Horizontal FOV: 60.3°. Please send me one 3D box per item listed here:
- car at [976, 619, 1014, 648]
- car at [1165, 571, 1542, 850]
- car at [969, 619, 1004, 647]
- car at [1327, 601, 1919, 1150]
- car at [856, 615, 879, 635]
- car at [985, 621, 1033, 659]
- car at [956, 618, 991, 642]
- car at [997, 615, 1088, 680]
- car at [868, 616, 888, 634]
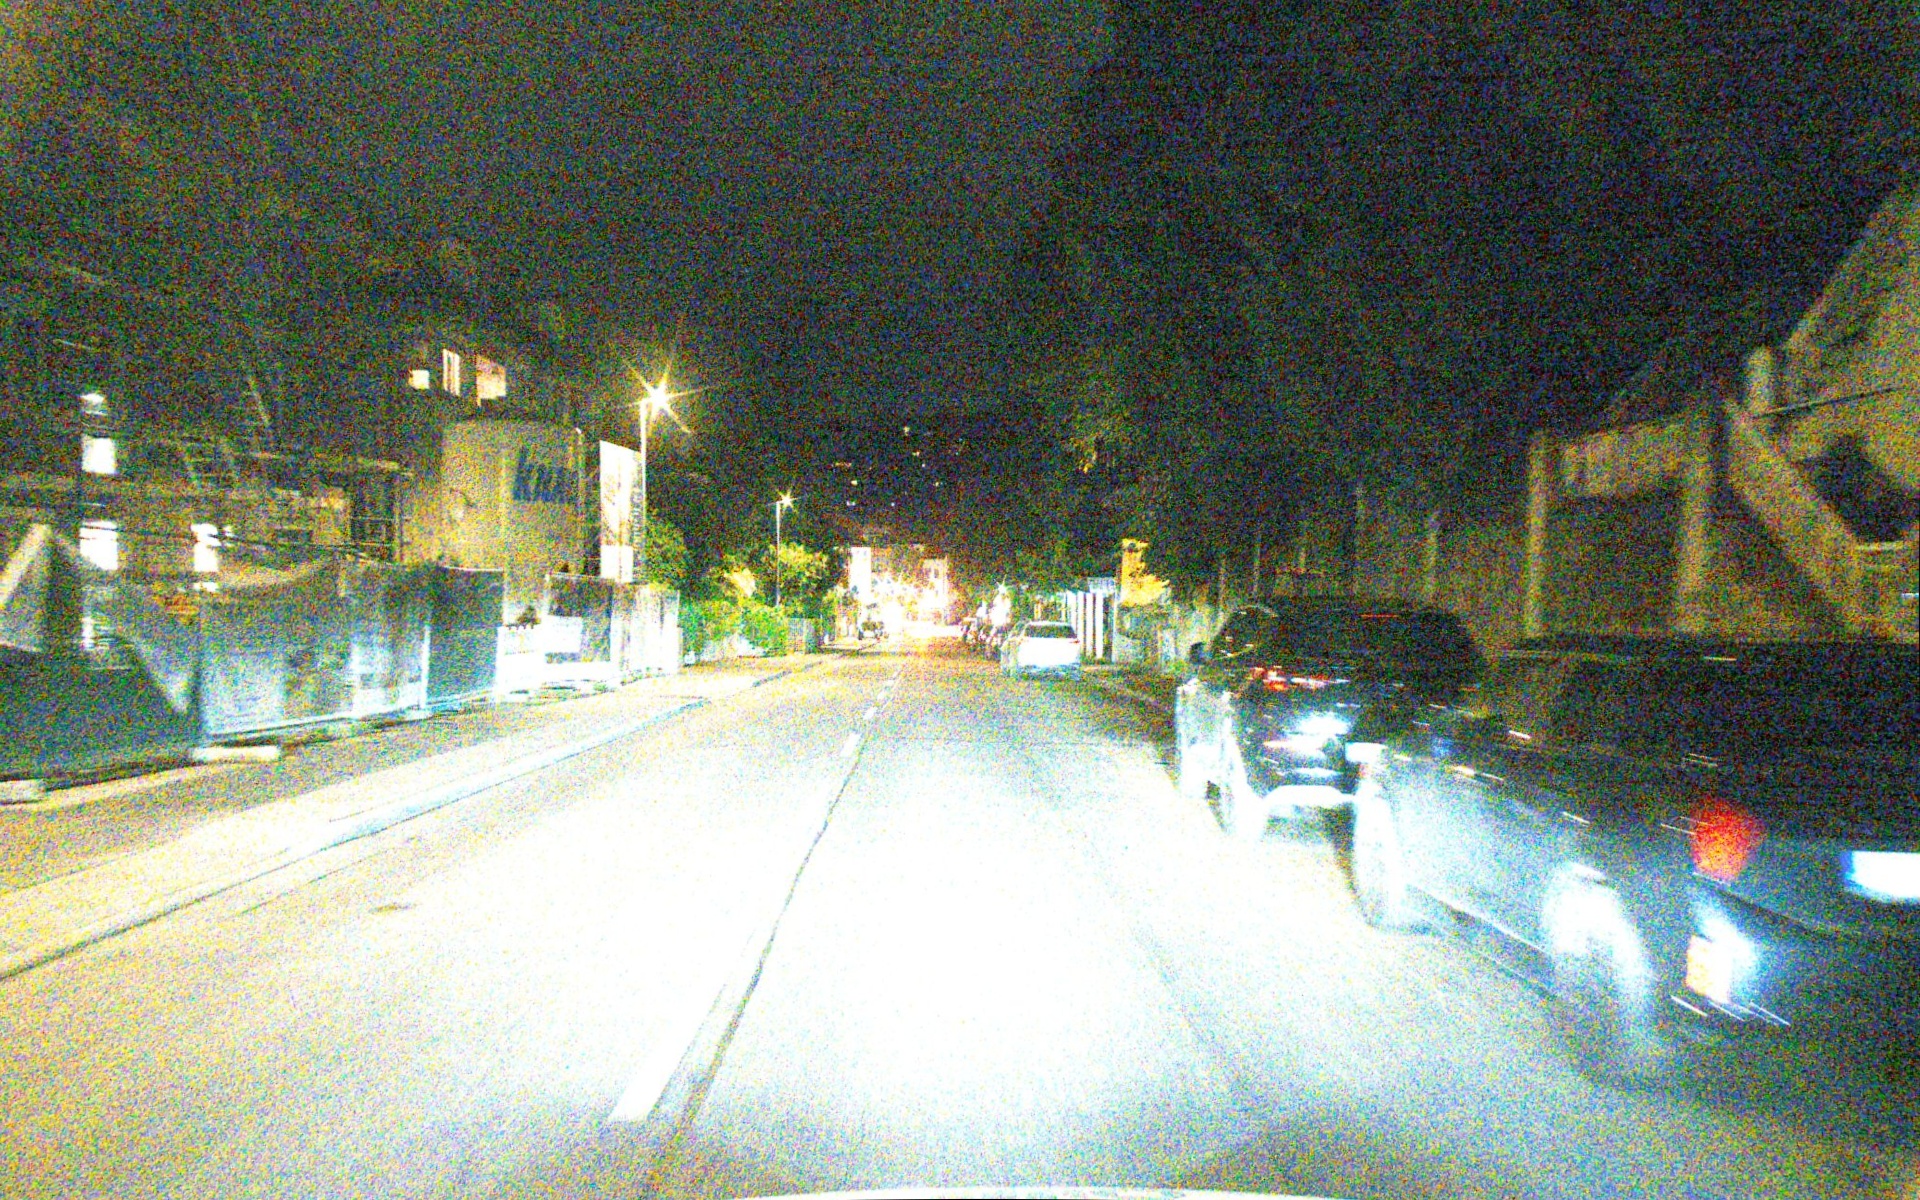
[{"bbox_3d":[1.815,1.712,84.902,1.829,1.427,4.001,1,-1,3],"label":"car"},{"bbox_3d":[2.684,0.691,12.390,1.794,1.693,4.619,0,-1,1],"label":"car"},{"bbox_3d":[1.414,1.766,89.741,1.649,1.474,3.997,1,-1,-3],"label":"car"},{"bbox_3d":[2.895,0.789,6.770,1.708,1.496,4.255,2,0,-1],"label":"car"},{"bbox_3d":[-7.362,2.008,131.583,1.718,1.566,3.727,0,-1,-4],"label":"car"},{"bbox_3d":[1.916,1.553,65.394,1.597,1.464,3.862,0,-1,-2],"label":"car"},{"bbox_3d":[0.828,1.873,104.979,1.650,1.474,3.993,1,-1,-7],"label":"car"},{"bbox_3d":[2.045,1.172,41.960,1.728,1.501,4.271,2,-1,-5],"label":"car"},{"bbox_3d":[-7.346,2.241,148.704,1.718,1.566,3.729,0,-1,-2],"label":"car"}]
